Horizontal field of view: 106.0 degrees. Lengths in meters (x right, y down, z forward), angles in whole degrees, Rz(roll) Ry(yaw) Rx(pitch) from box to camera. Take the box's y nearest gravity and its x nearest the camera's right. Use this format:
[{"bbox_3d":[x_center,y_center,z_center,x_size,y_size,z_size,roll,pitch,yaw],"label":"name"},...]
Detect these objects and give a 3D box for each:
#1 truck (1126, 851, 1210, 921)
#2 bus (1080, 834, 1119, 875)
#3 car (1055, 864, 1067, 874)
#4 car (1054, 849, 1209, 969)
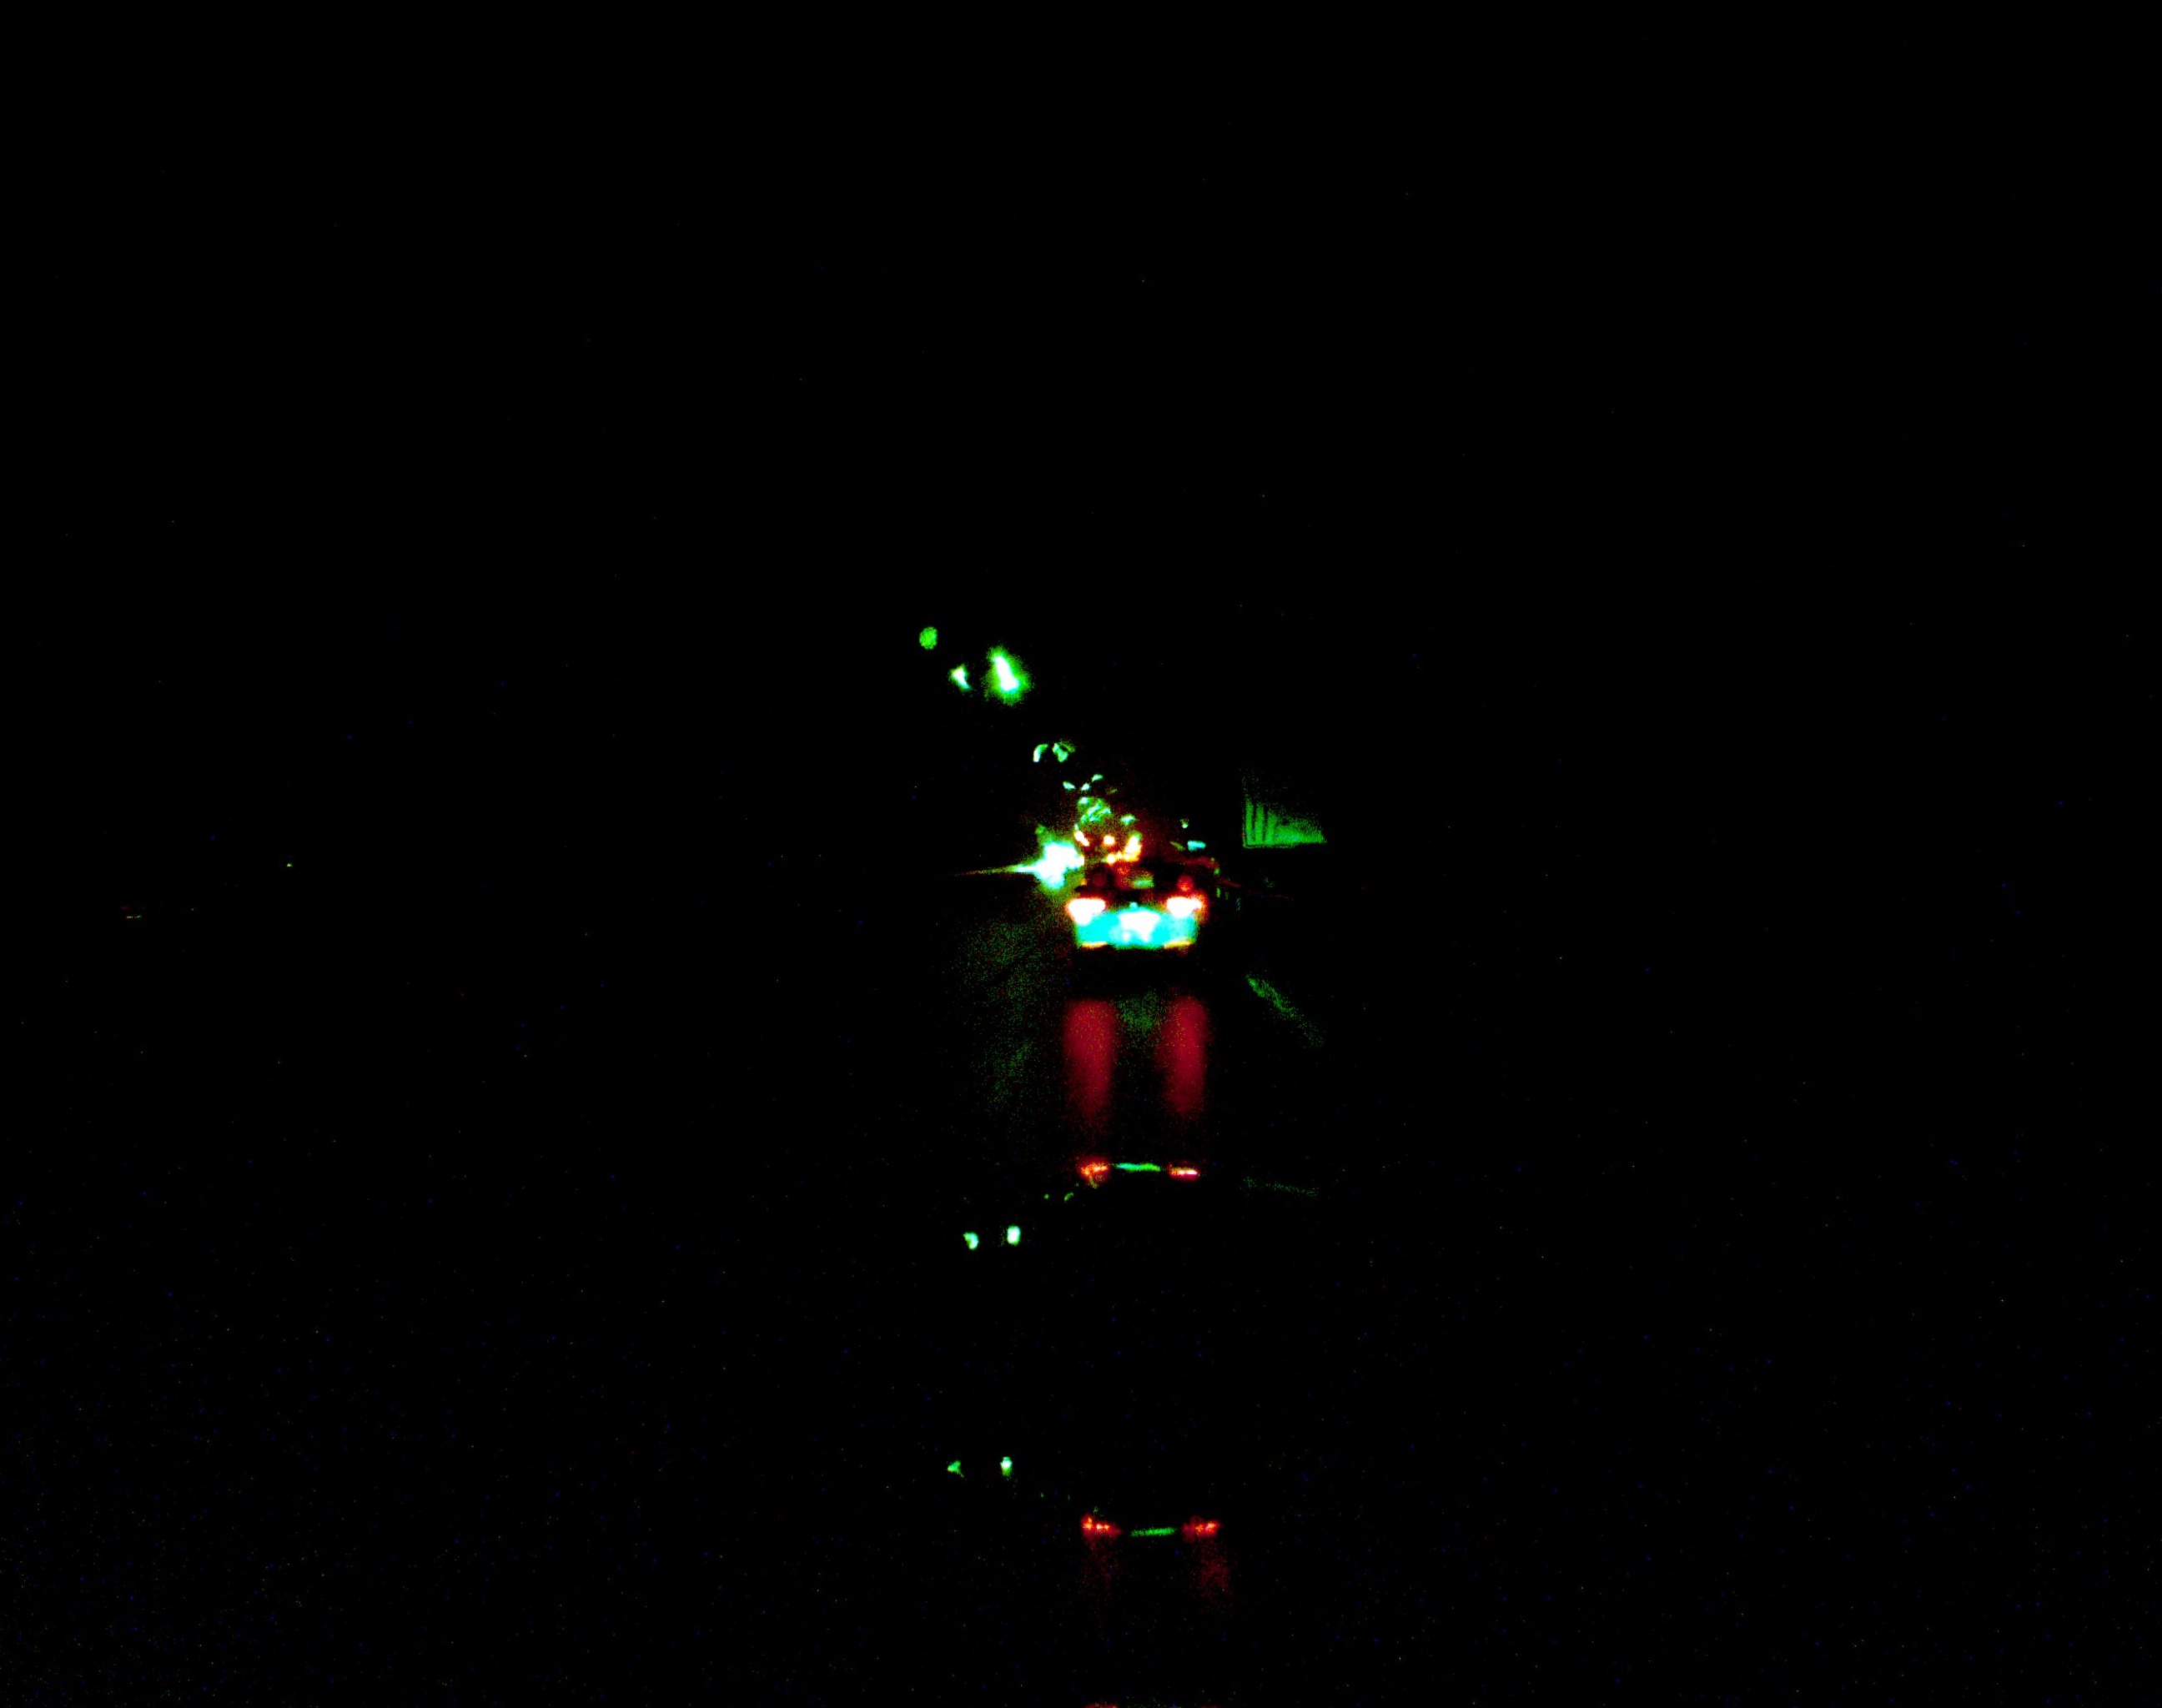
[{"bbox_3d":[3.671,1.263,33.404,3.052,2.529,7.181,0,-2,8],"label":"truck"},{"bbox_3d":[1.621,0.035,66.410,2.731,3.123,9.210,0,0,4],"label":"bus"},{"bbox_3d":[-3.459,2.638,142.108,1.593,1.552,3.838,0,-2,5],"label":"car"},{"bbox_3d":[0.851,0.726,12.131,1.934,1.491,3.723,-1,-1,7],"label":"car"}]
